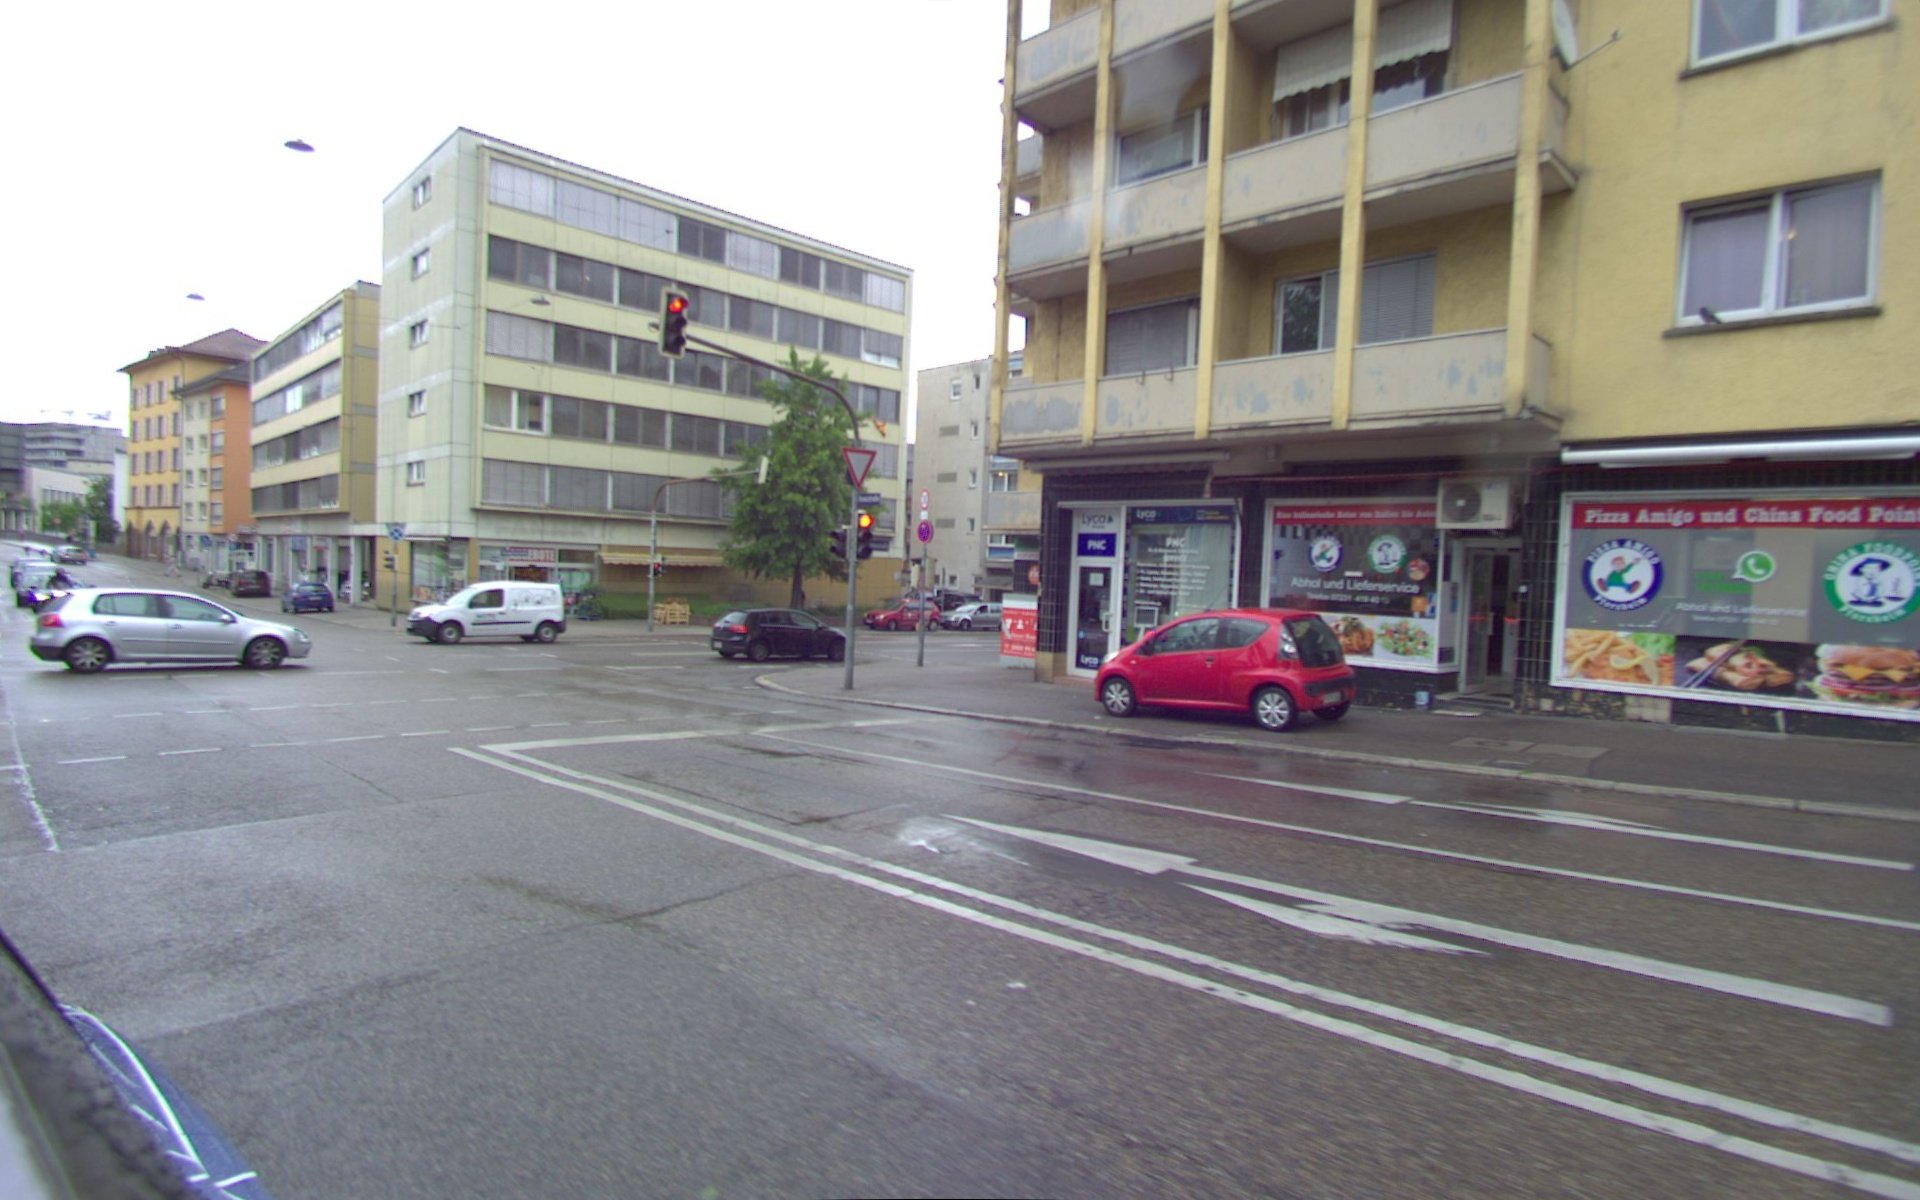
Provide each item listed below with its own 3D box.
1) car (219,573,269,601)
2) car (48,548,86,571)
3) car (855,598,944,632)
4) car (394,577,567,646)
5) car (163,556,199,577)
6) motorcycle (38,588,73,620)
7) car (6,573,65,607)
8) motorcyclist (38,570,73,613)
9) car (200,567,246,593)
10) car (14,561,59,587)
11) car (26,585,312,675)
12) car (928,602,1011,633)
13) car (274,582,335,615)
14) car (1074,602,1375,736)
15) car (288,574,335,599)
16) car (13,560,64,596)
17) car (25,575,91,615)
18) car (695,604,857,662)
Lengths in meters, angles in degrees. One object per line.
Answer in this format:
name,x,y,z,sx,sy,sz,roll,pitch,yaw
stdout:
car,-43.020,-0.828,60.773,1.822,1.578,4.374,-3,3,-43
car,-75.231,-3.426,85.224,4.367,1.721,1.825,4,3,40
car,-2.828,0.716,47.415,3.829,1.437,1.729,1,2,-39
car,-14.002,0.343,29.658,4.165,1.869,1.994,1,0,-42
car,-61.304,-2.627,79.655,1.822,1.578,4.374,-3,3,-43
motorcycle,-31.831,0.130,35.606,0.866,1.108,1.802,1,0,-43
car,-40.769,-0.464,44.645,1.822,1.430,3.573,-3,3,-43
motorcyclist,-31.838,-0.285,35.624,0.866,1.490,0.797,1,0,-44
car,-47.318,-1.270,64.921,1.822,1.578,4.374,-3,3,-43
car,-52.922,-1.484,58.005,1.822,1.430,3.573,-3,3,-43
car,-14.457,0.519,18.642,3.976,1.435,1.689,1,1,-44
car,0.487,0.877,50.368,3.829,1.437,1.729,1,2,-39
car,-31.101,-0.090,47.978,1.822,1.430,3.573,-3,3,-43
car,3.403,0.789,13.403,1.591,1.475,3.536,-3,2,-44
car,-43.290,-0.894,67.515,1.823,1.578,4.373,-3,3,-43
car,-46.907,-1.125,51.509,1.822,1.727,3.573,-3,3,-43
car,-35.493,-0.226,39.798,1.822,1.430,3.573,-3,3,-43
car,-5.007,0.928,27.885,4.105,1.435,1.689,3,-2,-44
